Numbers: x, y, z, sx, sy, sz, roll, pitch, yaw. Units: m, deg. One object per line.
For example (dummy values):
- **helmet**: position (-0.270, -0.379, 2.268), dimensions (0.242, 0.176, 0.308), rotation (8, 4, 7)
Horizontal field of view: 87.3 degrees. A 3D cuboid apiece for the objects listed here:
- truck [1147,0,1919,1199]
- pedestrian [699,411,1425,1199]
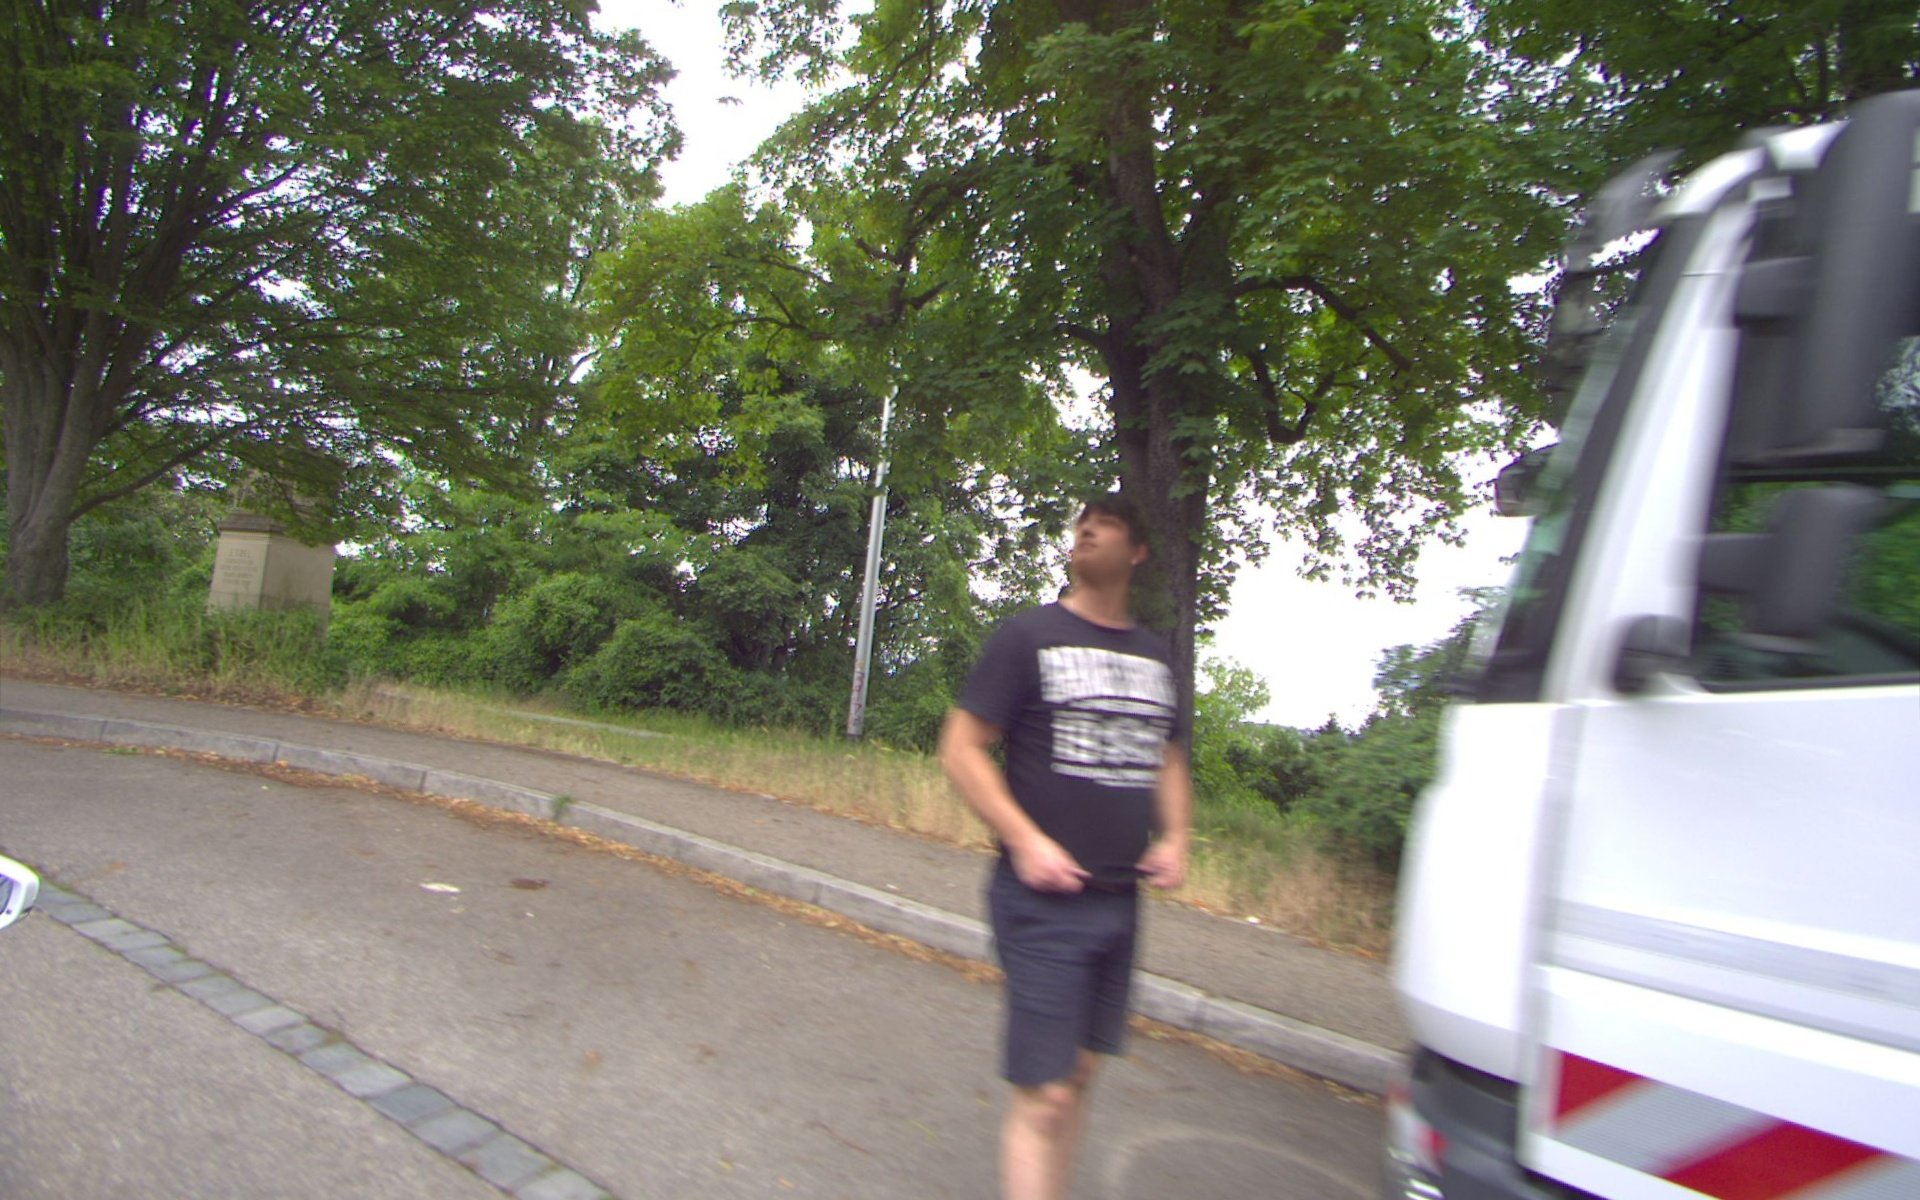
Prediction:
- **truck**: position (4.069, 0.252, 0.948), dimensions (7.135, 3.215, 2.480), rotation (6, -4, 44)
- **pedestrian**: position (0.304, 0.642, 2.291), dimensions (0.969, 1.843, 0.923), rotation (7, -14, 37)
